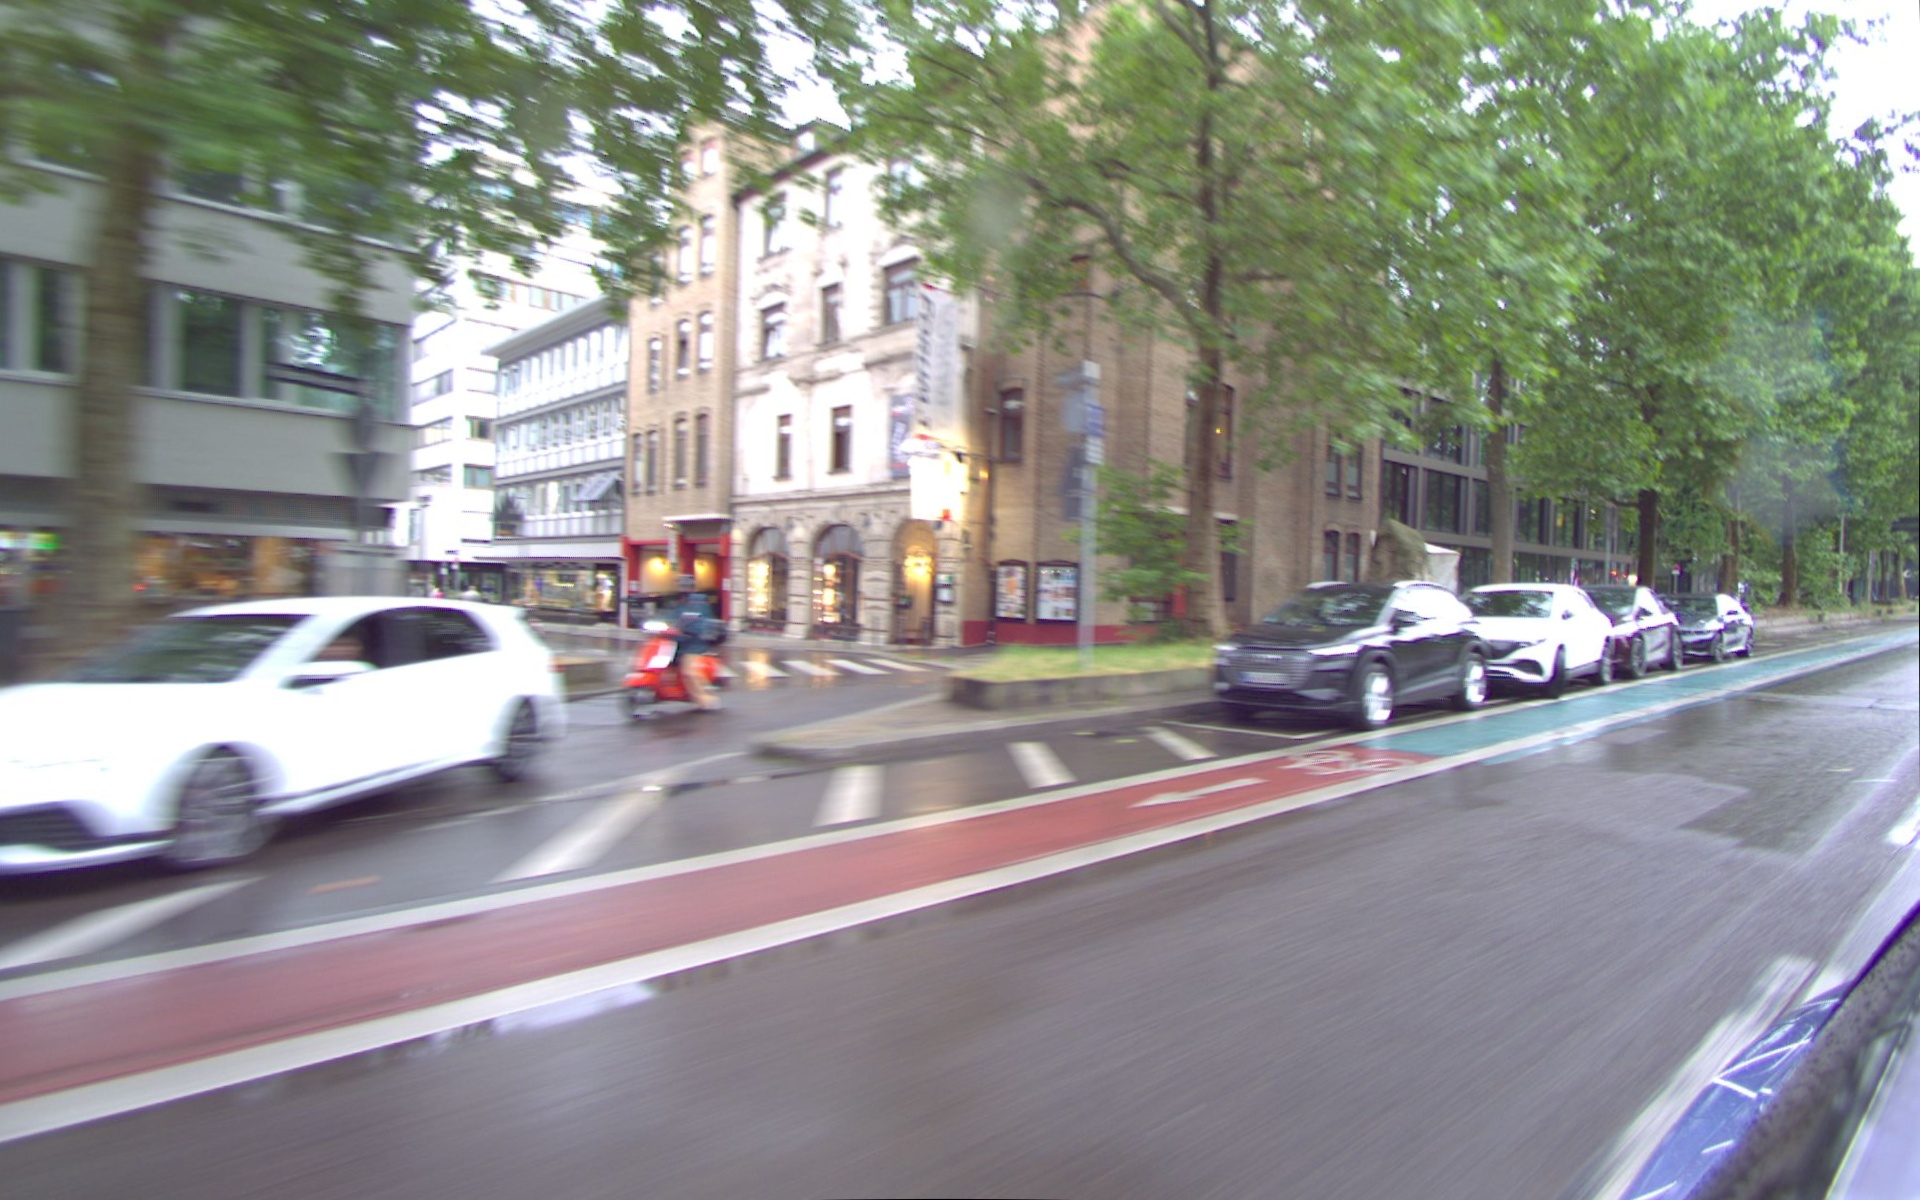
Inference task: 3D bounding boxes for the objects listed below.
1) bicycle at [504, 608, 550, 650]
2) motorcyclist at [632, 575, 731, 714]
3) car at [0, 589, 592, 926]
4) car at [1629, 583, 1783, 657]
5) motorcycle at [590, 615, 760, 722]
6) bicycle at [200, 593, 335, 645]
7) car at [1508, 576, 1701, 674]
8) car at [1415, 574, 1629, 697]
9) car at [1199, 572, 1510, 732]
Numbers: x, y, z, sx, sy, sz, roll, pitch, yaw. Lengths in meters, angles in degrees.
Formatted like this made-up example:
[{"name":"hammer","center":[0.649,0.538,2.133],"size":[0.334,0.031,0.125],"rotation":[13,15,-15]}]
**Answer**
[{"name":"bicycle","center":[-10.597,0.685,24.744],"size":[0.613,0.949,1.972],"rotation":[0,1,-36]},{"name":"motorcyclist","center":[-3.482,0.525,12.682],"size":[0.842,1.665,0.862],"rotation":[0,0,31]},{"name":"car","center":[-4.532,0.671,6.841],"size":[1.838,1.463,4.496],"rotation":[0,1,10]},{"name":"car","center":[16.464,0.373,22.250],"size":[4.505,1.451,1.746],"rotation":[-1,1,-41]},{"name":"motorcycle","center":[-3.503,0.798,12.625],"size":[0.862,1.157,1.999],"rotation":[0,1,31]},{"name":"bicycle","center":[-13.039,0.376,19.103],"size":[2.041,0.907,0.583],"rotation":[2,-6,-44]},{"name":"car","center":[12.093,0.374,18.874],"size":[4.484,1.609,1.996],"rotation":[-1,1,-43]},{"name":"car","center":[8.680,0.437,15.461],"size":[1.752,1.605,4.339],"rotation":[0,1,45]},{"name":"car","center":[4.947,0.497,12.383],"size":[4.349,1.623,1.795],"rotation":[-1,0,-42]}]
